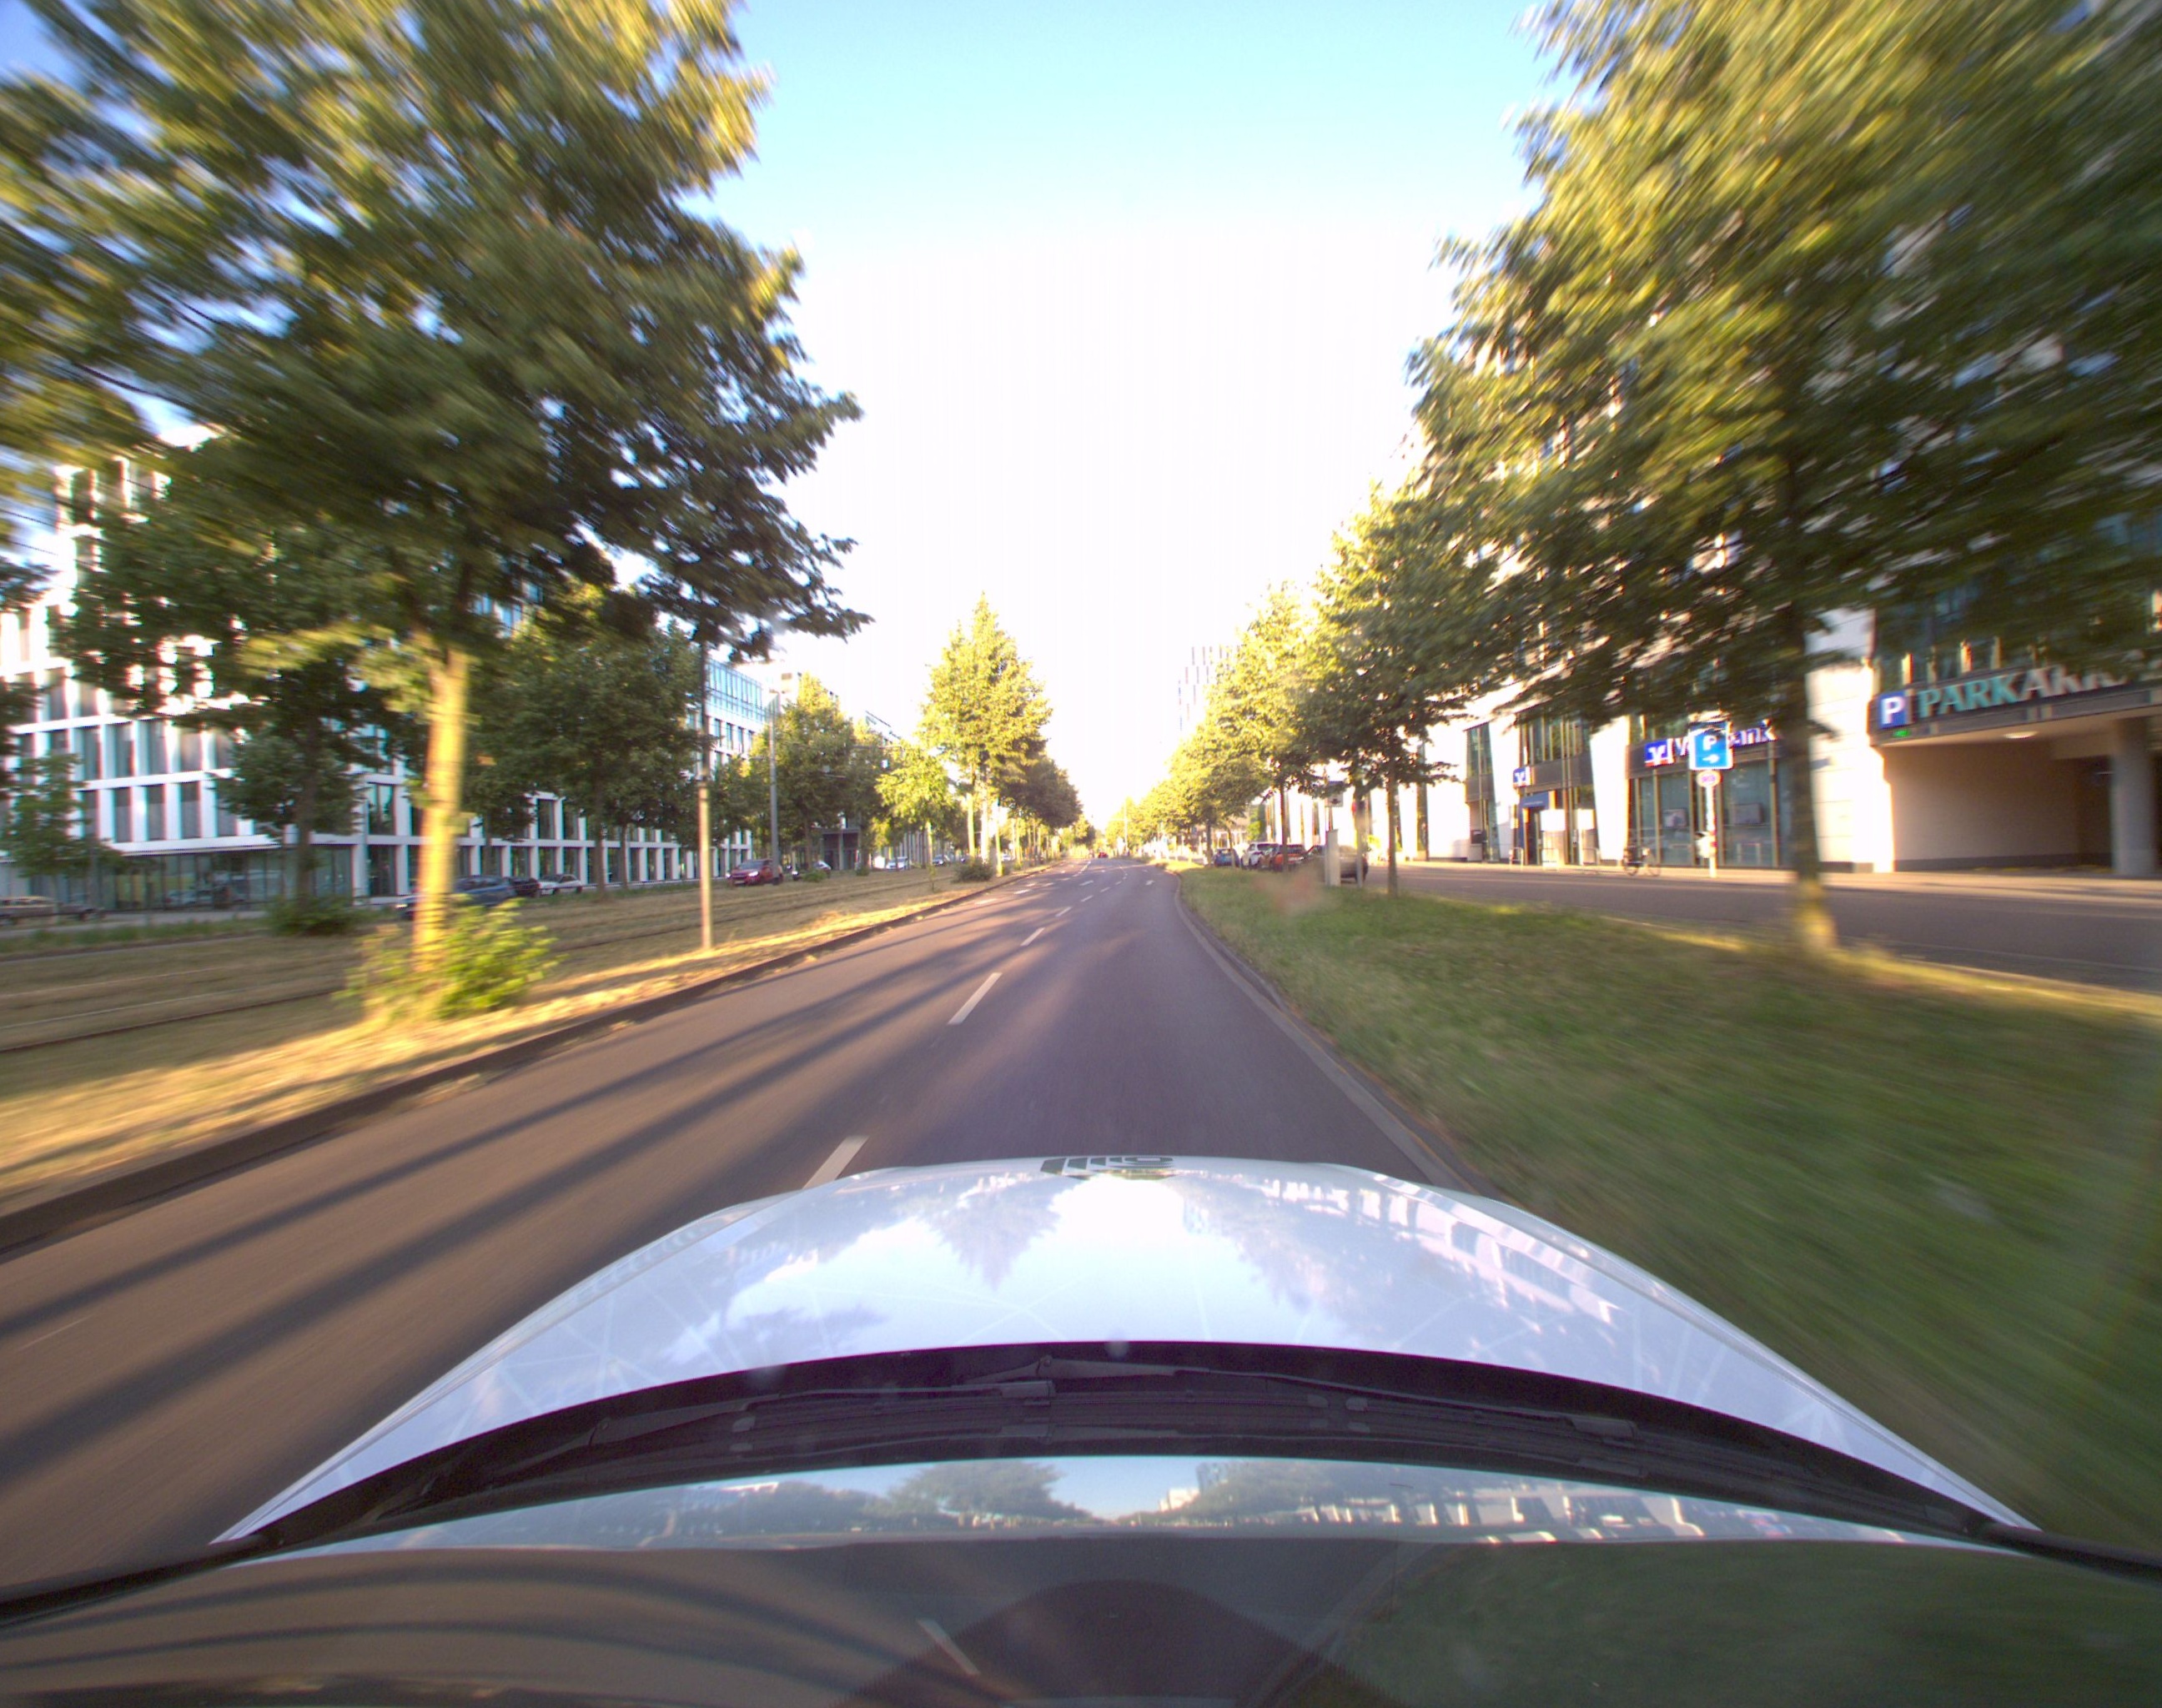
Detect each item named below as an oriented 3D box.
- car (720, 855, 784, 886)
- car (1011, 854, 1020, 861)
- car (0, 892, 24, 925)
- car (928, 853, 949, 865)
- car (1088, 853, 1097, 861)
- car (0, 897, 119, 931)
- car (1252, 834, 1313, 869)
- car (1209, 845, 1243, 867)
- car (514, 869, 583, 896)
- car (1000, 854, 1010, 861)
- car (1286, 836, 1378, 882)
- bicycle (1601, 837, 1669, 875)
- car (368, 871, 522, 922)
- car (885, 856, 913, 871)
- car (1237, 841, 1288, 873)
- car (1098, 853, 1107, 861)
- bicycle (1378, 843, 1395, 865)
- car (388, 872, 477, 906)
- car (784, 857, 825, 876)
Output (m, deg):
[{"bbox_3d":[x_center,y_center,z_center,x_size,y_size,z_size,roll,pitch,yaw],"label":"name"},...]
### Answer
[{"bbox_3d":[-18.632,0.903,46.323,1.879,1.578,4.181,-2,0,0],"label":"car"},{"bbox_3d":[-16.854,0.841,209.527,1.722,1.589,3.515,-2,0,1],"label":"car"},{"bbox_3d":[-55.160,2.785,39.551,1.751,1.589,4.293,-2,0,13],"label":"car"},{"bbox_3d":[-17.547,0.574,100.335,1.652,1.332,4.741,-2,0,0],"label":"car"},{"bbox_3d":[3.037,0.734,216.101,2.080,2.013,4.000,-2,0,0],"label":"car"},{"bbox_3d":[-47.857,2.767,37.480,1.727,1.260,4.268,-2,0,14],"label":"car"},{"bbox_3d":[9.403,-0.133,38.289,1.848,1.529,4.483,-1,0,1],"label":"car"},{"bbox_3d":[10.072,0.130,56.930,1.718,1.529,4.269,-1,0,1],"label":"car"},{"bbox_3d":[-34.793,1.854,53.348,1.853,1.581,3.786,-2,0,2],"label":"car"},{"bbox_3d":[-15.708,0.722,169.055,1.781,1.332,3.671,-2,0,0],"label":"car"},{"bbox_3d":[9.440,0.170,31.046,1.938,1.549,4.810,-2,0,-1],"label":"car"},{"bbox_3d":[16.303,0.060,24.025,0.650,1.039,2.056,-2,0,2],"label":"bicycle"},{"bbox_3d":[-22.056,1.421,28.485,1.911,1.508,4.288,-2,0,1],"label":"car"},{"bbox_3d":[-17.673,0.937,79.321,1.652,1.332,4.529,-2,0,0],"label":"car"},{"bbox_3d":[10.120,0.154,45.817,1.943,1.714,5.162,-1,0,3],"label":"car"},{"bbox_3d":[5.328,0.760,200.768,1.987,2.013,4.000,-2,0,0],"label":"car"},{"bbox_3d":[16.726,-0.020,44.560,0.567,1.124,1.840,-4,0,13],"label":"bicycle"},{"bbox_3d":[-34.797,1.845,43.790,1.853,1.581,3.494,-2,0,2],"label":"car"},{"bbox_3d":[-21.275,0.964,62.840,1.652,1.332,4.473,-2,0,0],"label":"car"}]
